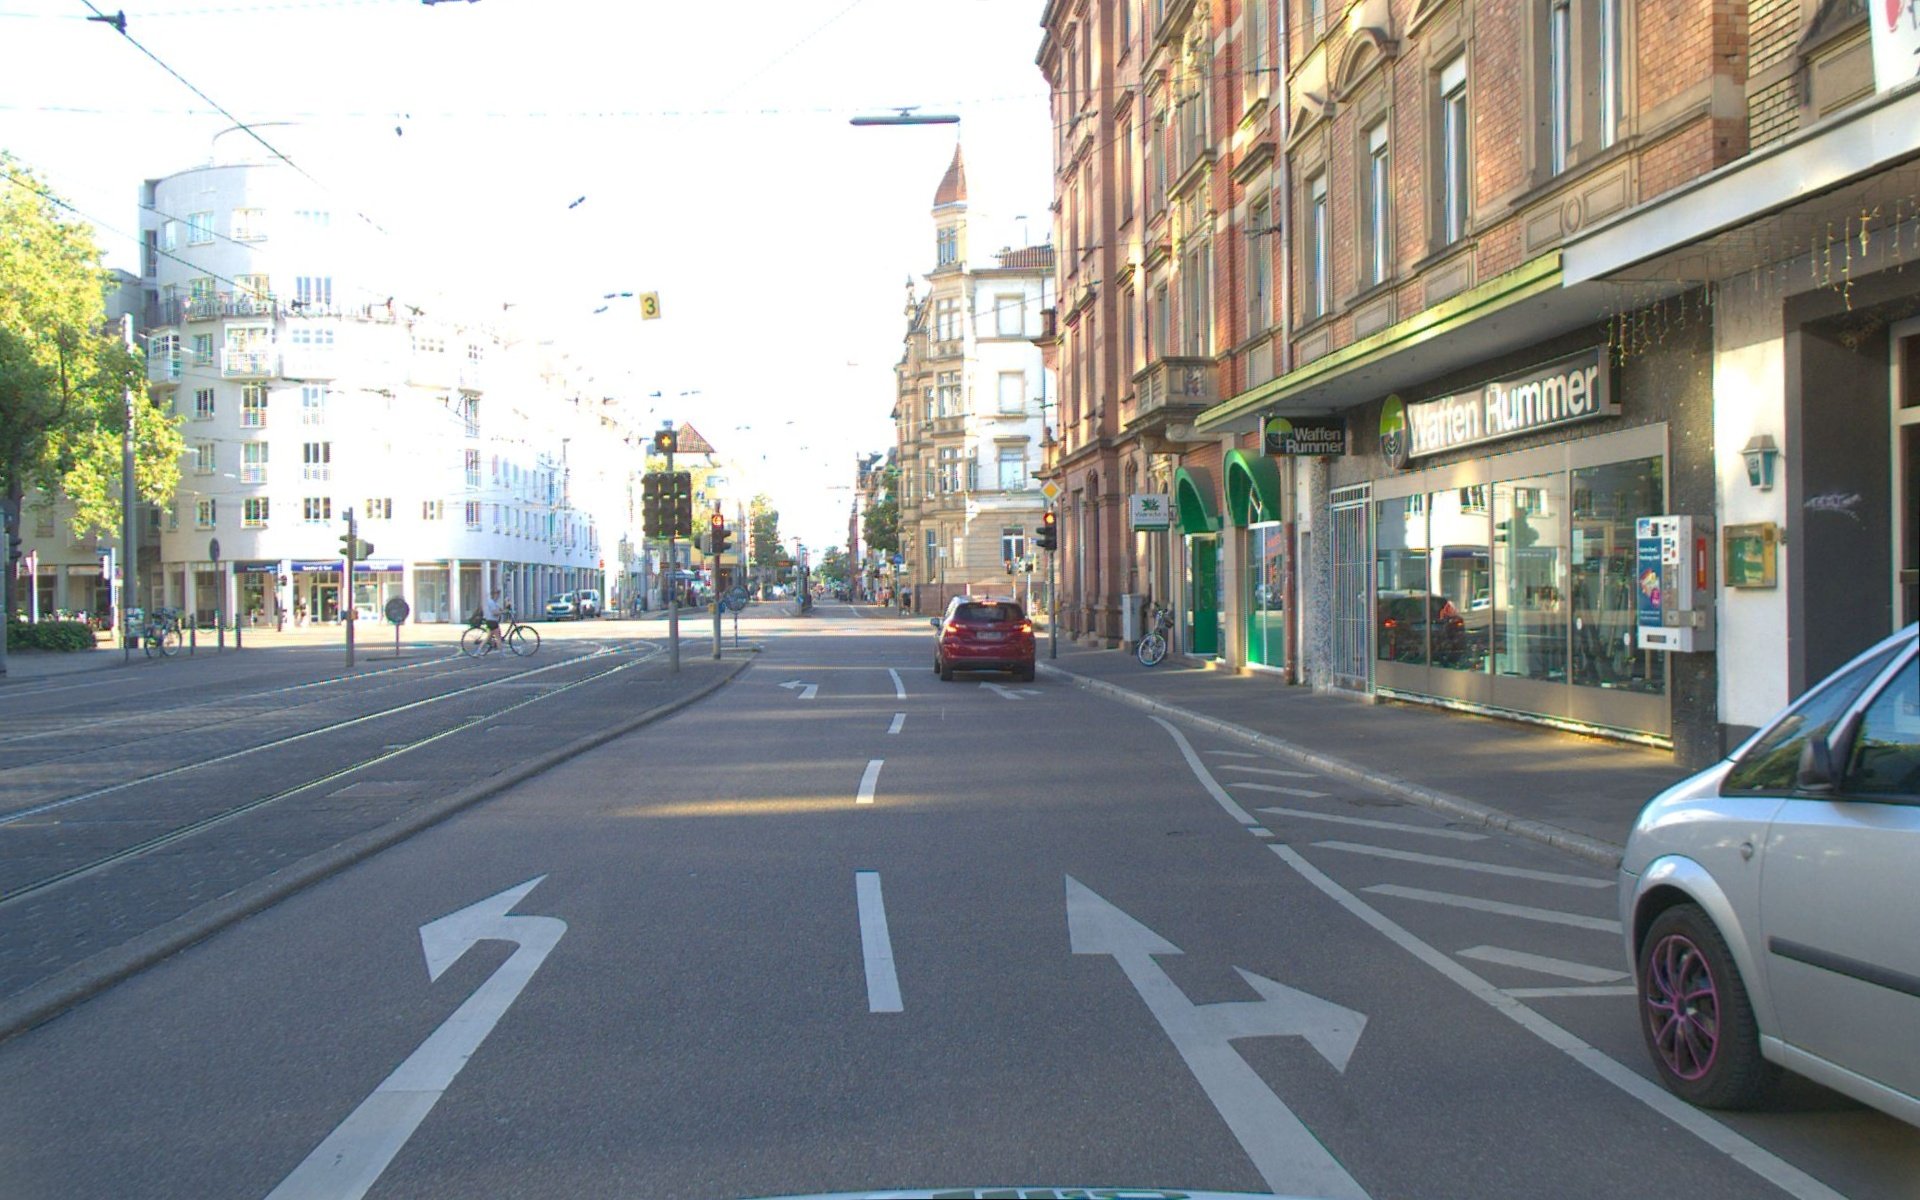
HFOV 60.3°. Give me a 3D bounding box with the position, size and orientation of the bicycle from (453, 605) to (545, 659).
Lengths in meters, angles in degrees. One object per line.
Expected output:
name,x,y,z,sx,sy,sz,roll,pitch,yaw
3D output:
bicycle,-10.617,0.737,38.158,1.982,1.198,0.626,-1,0,-12

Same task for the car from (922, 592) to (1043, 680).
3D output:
car,0.342,0.609,30.122,1.720,1.492,3.940,0,0,-6

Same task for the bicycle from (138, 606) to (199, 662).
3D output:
bicycle,-20.235,0.864,42.295,0.657,1.350,1.905,2,0,-2

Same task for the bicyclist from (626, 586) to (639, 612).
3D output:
bicyclist,-23.855,-0.087,120.579,0.792,1.853,0.992,-1,0,-5

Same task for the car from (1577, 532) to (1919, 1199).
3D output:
car,3.107,0.657,3.751,1.606,1.643,3.940,0,0,-6

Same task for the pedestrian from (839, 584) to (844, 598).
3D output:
pedestrian,-16.292,-1.187,227.687,0.566,1.920,0.669,-1,0,-4

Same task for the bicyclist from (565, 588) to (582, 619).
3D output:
bicyclist,-22.210,0.225,95.018,0.792,1.756,0.793,-1,0,-5

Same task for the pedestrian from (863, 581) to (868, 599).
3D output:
pedestrian,-10.703,-1.119,187.738,0.566,2.049,0.630,-1,0,-4

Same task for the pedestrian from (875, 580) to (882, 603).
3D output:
pedestrian,-7.176,-0.757,145.517,0.565,2.049,0.631,-1,0,1

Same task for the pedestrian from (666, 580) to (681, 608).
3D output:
pedestrian,-21.446,-0.439,123.776,0.937,2.049,1.048,-1,0,-5

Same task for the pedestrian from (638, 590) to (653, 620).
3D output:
pedestrian,-18.334,0.296,96.424,0.753,1.761,0.572,-1,0,-3

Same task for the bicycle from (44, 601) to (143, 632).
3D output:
bicycle,-45.971,0.874,87.787,4.608,1.556,1.066,-1,0,-2

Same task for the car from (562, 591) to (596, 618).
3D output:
car,-25.351,0.270,110.058,1.668,1.748,3.560,-1,0,-5

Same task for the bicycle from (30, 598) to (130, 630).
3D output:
bicycle,-45.868,0.727,86.239,4.608,1.556,1.066,-1,0,-2

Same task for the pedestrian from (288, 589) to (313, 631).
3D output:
pedestrian,-32.706,0.486,82.015,0.935,2.049,0.930,-1,0,-32

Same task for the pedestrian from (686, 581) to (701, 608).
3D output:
pedestrian,-20.391,-0.446,126.495,1.025,2.049,0.958,-1,0,-7

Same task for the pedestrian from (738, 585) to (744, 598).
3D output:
pedestrian,-29.150,-1.124,219.909,0.620,1.632,0.575,-1,0,-21

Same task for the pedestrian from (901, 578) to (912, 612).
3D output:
pedestrian,-3.267,-0.285,100.803,0.638,2.049,0.759,-1,0,-6

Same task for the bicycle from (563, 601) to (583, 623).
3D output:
bicycle,-22.186,0.679,94.812,0.792,1.167,2.047,-1,0,-5

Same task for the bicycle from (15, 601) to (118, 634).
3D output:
bicycle,-45.950,0.888,85.096,4.608,1.556,1.066,-1,0,-2

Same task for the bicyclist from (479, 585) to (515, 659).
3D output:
bicyclist,-10.561,0.499,37.740,0.717,1.655,0.763,-1,0,-12

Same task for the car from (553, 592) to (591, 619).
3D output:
car,-24.195,0.324,103.145,1.730,1.573,3.458,-1,0,-4

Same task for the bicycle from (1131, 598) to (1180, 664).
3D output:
bicycle,3.756,0.581,31.678,0.700,1.172,1.656,-3,1,14

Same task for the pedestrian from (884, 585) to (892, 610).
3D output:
pedestrian,-5.761,-0.194,132.175,0.633,2.049,0.682,-1,0,-5
